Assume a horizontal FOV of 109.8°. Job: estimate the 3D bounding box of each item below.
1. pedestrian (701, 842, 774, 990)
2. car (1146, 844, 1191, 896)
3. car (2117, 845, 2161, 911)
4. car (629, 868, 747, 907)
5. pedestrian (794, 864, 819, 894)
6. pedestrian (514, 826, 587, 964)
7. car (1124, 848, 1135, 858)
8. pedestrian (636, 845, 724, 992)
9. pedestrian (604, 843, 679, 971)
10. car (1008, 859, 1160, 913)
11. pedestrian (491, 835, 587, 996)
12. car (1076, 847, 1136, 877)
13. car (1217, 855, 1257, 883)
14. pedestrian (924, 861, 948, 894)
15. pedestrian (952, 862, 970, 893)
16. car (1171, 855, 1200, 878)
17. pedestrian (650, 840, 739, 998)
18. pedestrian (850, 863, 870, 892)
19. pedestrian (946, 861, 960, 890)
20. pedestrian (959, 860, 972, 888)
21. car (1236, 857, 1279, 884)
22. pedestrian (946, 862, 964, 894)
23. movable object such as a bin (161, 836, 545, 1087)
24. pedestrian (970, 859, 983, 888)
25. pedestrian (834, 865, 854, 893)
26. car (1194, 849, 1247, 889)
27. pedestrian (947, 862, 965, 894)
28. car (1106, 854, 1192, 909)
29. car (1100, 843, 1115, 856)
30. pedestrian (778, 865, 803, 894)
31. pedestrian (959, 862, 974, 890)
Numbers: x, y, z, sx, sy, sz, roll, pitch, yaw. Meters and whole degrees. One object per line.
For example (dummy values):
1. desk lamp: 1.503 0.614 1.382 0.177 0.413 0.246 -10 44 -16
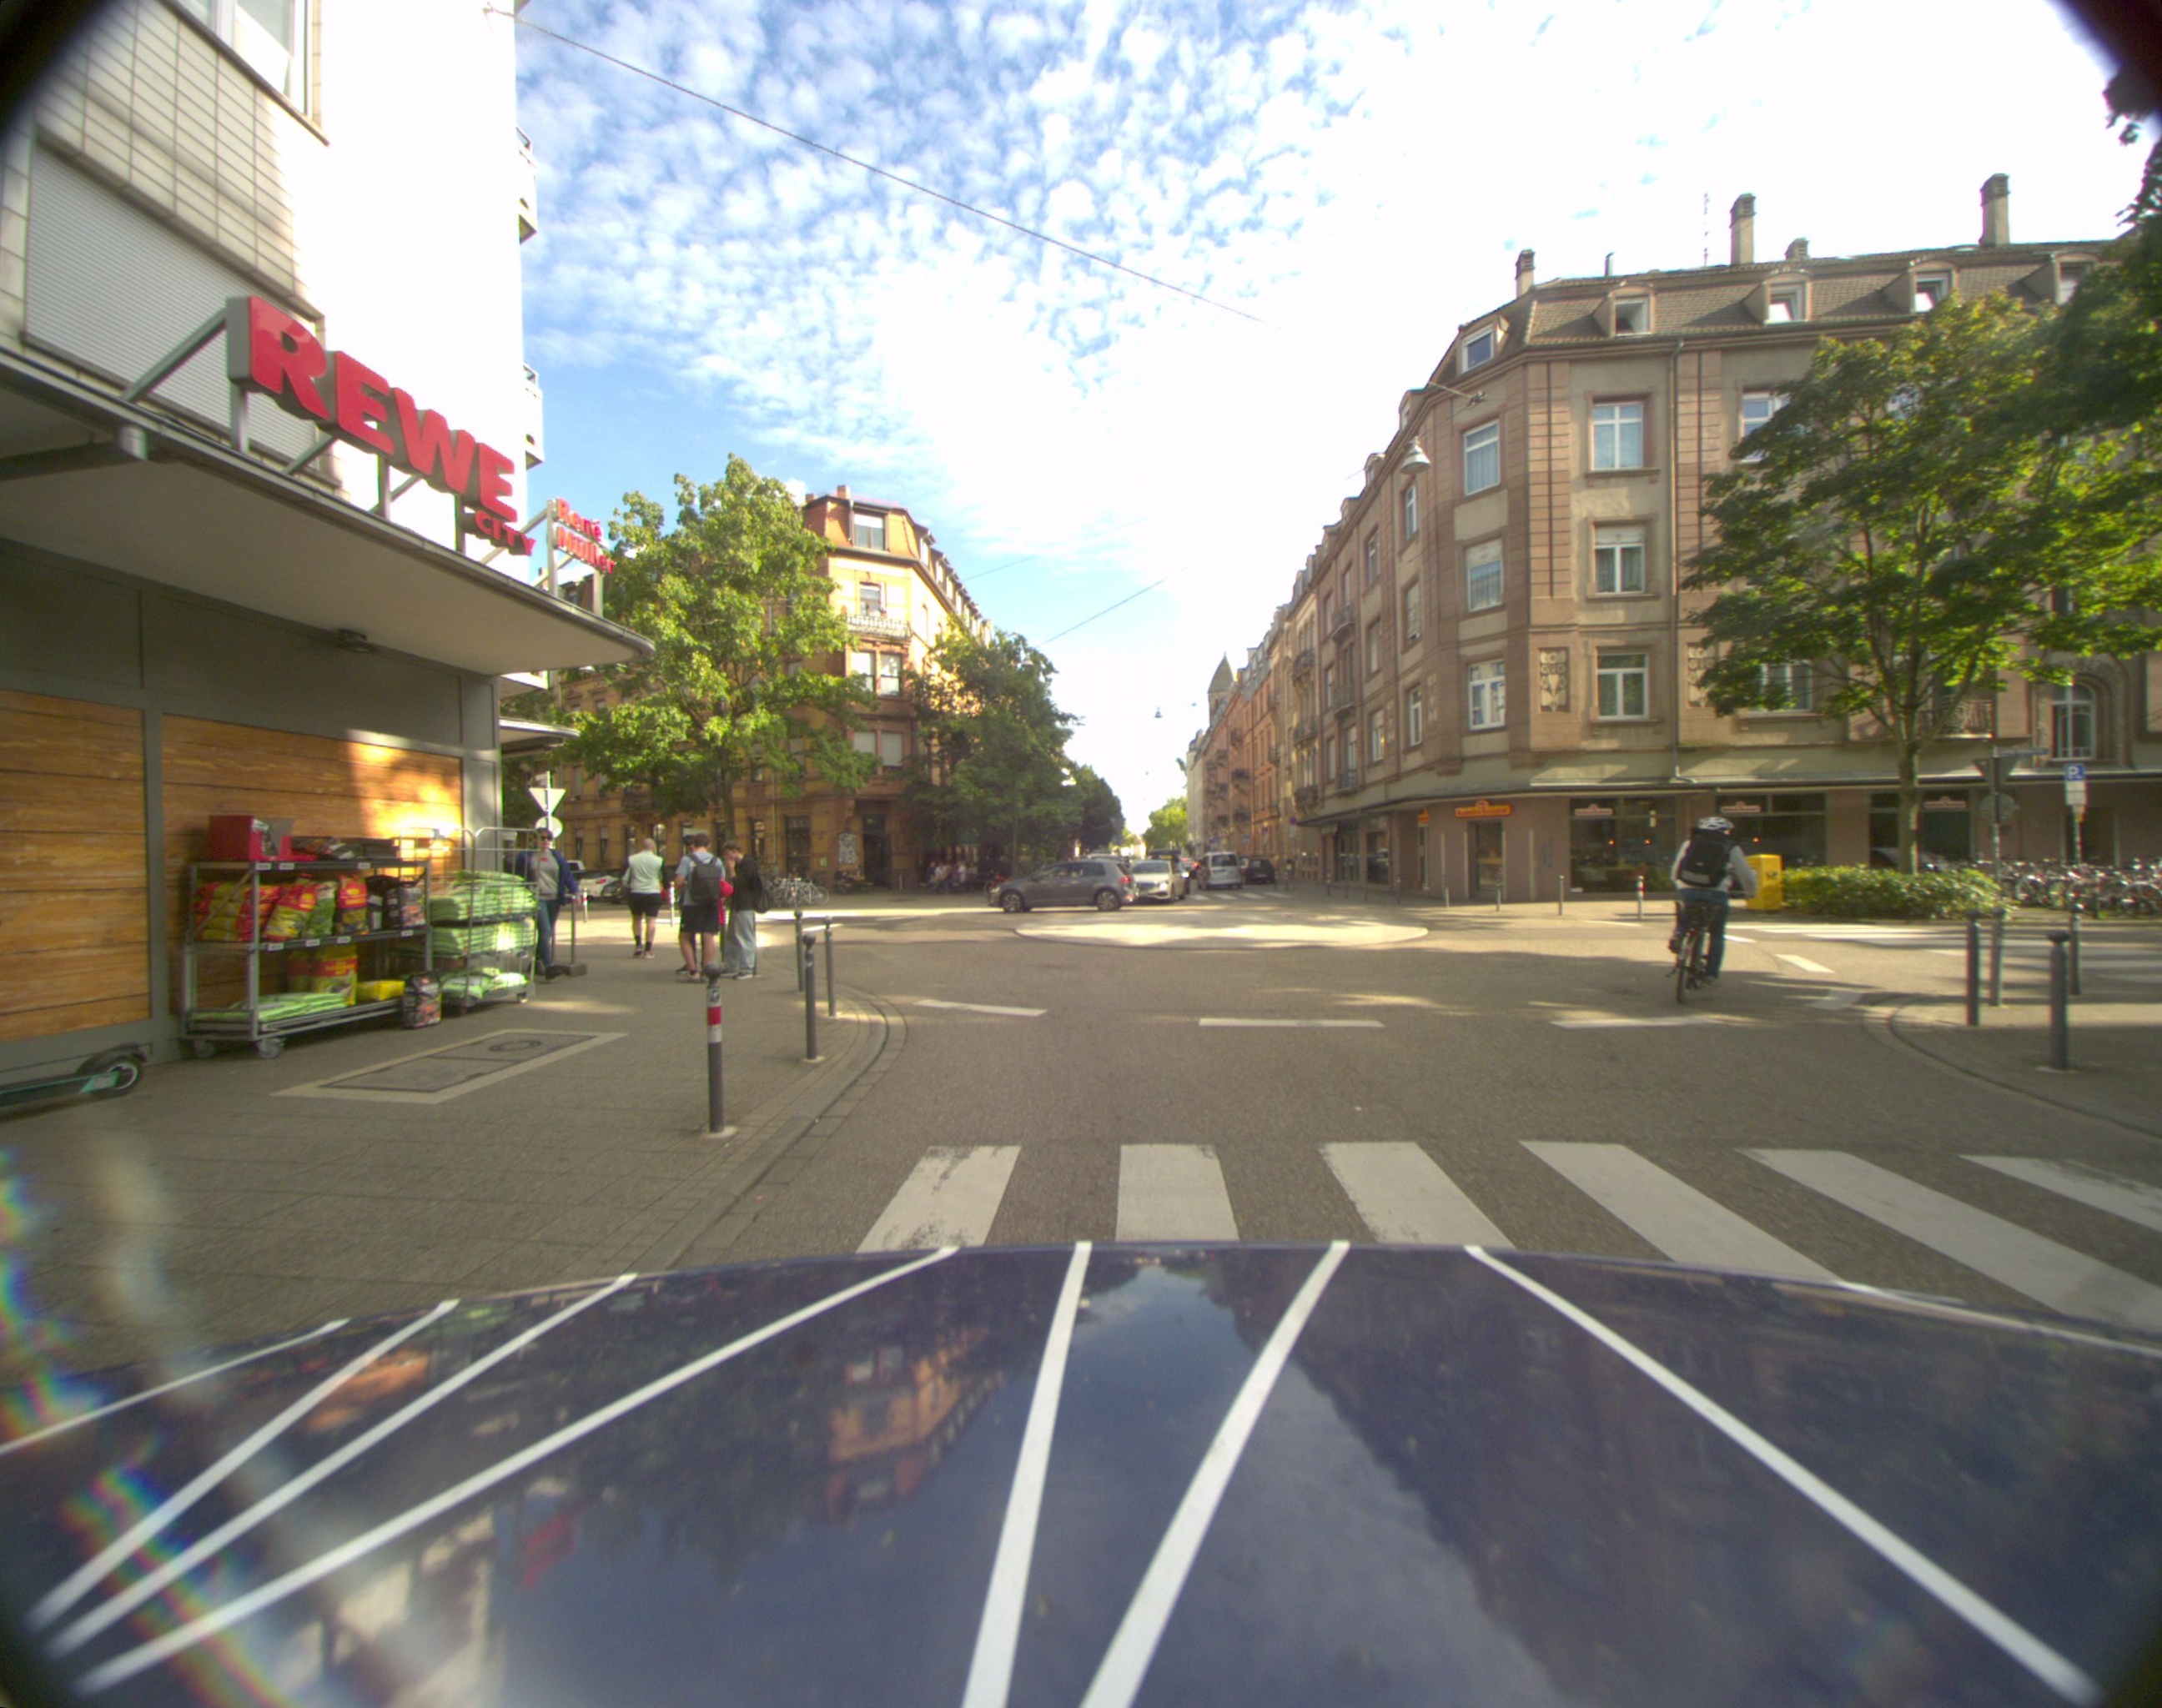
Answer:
1. pedestrian: -4.348 0.760 9.602 0.716 1.786 0.631 2 -1 -31
2. car: 3.797 0.649 32.777 1.791 2.051 4.002 -1 0 7
3. car: 25.171 0.529 16.070 1.575 1.468 3.700 -3 0 5
4. car: -16.090 1.349 31.341 1.564 1.263 4.119 -2 2 27
5. pedestrian: -12.450 1.131 34.472 0.628 1.278 0.770 -1 2 27
6. pedestrian: -8.191 0.611 11.724 0.865 2.001 1.031 1 -1 -38
7. car: 9.295 -0.144 145.415 1.997 1.877 4.002 -3 0 6
8. pedestrian: -5.094 0.795 9.679 0.654 1.786 0.660 2 0 17
9. pedestrian: -6.580 0.749 11.432 0.888 1.824 1.044 1 1 -25
10. car: 0.146 0.909 21.385 3.994 1.429 1.799 -1 -2 10
11. pedestrian: -6.291 0.666 8.815 0.767 1.743 0.928 -1 0 -42
12. car: 2.175 0.671 65.503 4.745 2.408 1.996 -2 0 -28
13. car: 9.703 0.880 47.552 1.861 1.575 4.400 -3 0 5
14. pedestrian: -6.251 0.994 32.732 0.715 1.371 0.671 0 1 39
15. pedestrian: -5.261 1.032 33.345 0.729 1.307 0.607 -1 0 -8
16. car: 7.860 0.911 57.440 1.998 1.625 4.846 -1 0 6
17. pedestrian: -4.594 0.740 9.036 0.712 1.786 0.634 1 -1 37
18. pedestrian: -10.046 1.048 34.531 0.510 1.252 0.643 1 3 36
19. pedestrian: -5.905 0.971 35.039 0.549 1.293 0.620 -1 1 -20
20. pedestrian: -5.499 0.935 36.059 0.467 1.320 0.620 -1 1 -20
21. car: 9.734 0.863 42.221 1.723 1.360 3.831 -3 0 5
22. pedestrian: -5.331 1.021 32.165 0.729 1.307 0.520 -1 0 -8
23. movable object such as a bin: -5.907 0.747 6.480 0.781 1.734 2.424 -1 0 4
24. pedestrian: -4.918 0.907 35.723 0.467 1.320 0.620 -1 1 -20
25. pedestrian: -10.581 1.100 33.945 0.510 1.218 0.643 1 3 36
26. car: 6.765 0.745 37.361 1.833 1.780 4.332 -3 -1 1
27. pedestrian: -5.358 1.027 32.682 0.729 1.307 0.520 -1 0 -8
28. car: 2.468 0.884 26.257 1.941 1.588 4.841 -3 0 17
29. car: 3.818 -0.694 110.077 1.850 1.724 4.000 -2 0 -1
30. pedestrian: -13.282 1.170 34.768 0.628 1.278 0.770 -1 2 27
31. pedestrian: -5.308 1.006 35.101 0.549 1.225 0.620 -1 1 -20
